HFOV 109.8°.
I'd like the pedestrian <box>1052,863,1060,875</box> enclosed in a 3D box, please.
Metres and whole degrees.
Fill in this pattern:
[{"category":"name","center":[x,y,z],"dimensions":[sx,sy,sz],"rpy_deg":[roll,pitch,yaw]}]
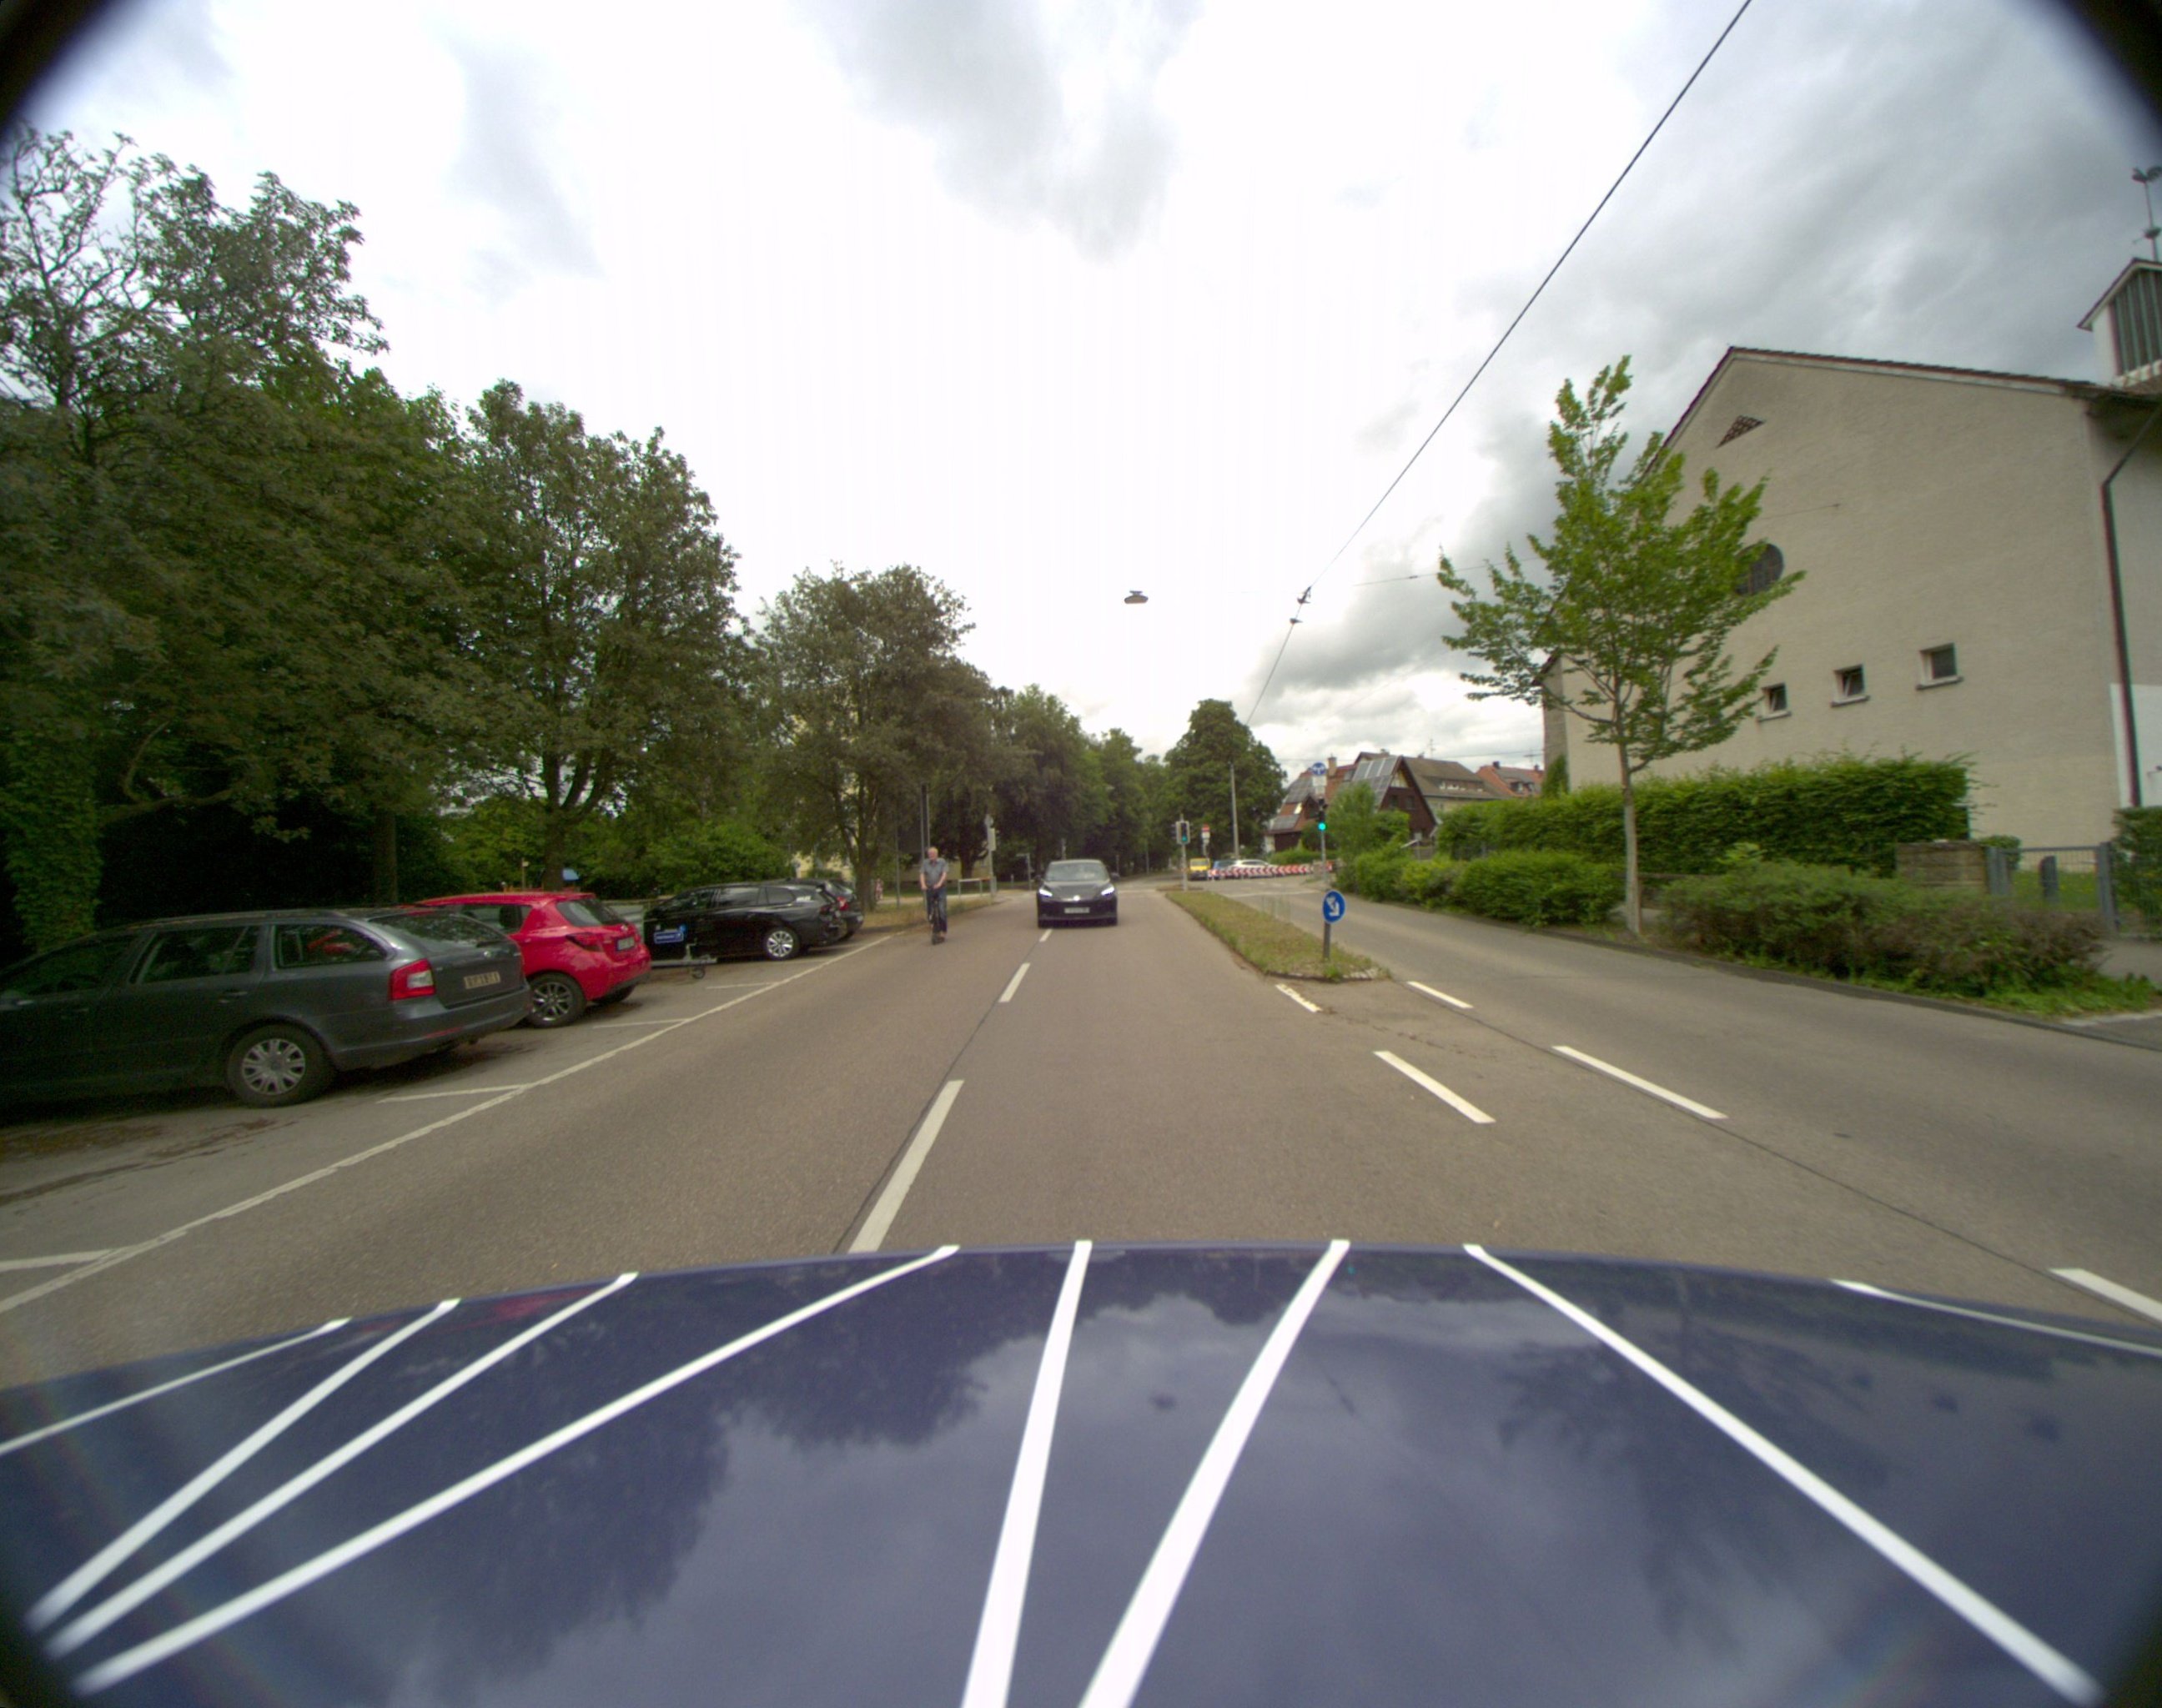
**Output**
[{"category":"pedestrian","center":[-2.962,1.816,90.244],"dimensions":[0.688,1.373,0.606],"rpy_deg":[-3,0,10]}]

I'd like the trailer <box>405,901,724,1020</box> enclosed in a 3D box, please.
[{"category":"trailer","center":[-7.310,1.470,11.090],"dimensions":[3.413,1.259,1.615],"rpy_deg":[-3,1,-9]}]

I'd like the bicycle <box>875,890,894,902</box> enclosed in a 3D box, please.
[{"category":"bicycle","center":[-9.354,1.990,36.148],"dimensions":[0.521,0.494,0.987],"rpy_deg":[3,-9,-37]}]

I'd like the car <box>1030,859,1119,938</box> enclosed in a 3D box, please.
[{"category":"car","center":[-0.036,0.937,17.977],"dimensions":[1.803,1.541,4.299],"rpy_deg":[-3,0,3]}]

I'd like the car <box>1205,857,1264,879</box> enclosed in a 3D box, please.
[{"category":"car","center":[12.033,1.127,59.612],"dimensions":[4.175,1.537,1.846],"rpy_deg":[-3,-2,0]}]

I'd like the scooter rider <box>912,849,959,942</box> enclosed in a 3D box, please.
[{"category":"scooter rider","center":[-2.862,0.796,15.059],"dimensions":[0.683,1.720,1.196],"rpy_deg":[-3,0,-4]}]

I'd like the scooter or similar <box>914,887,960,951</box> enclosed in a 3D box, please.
[{"category":"scooter or similar","center":[-2.832,1.259,15.097],"dimensions":[0.683,1.132,1.459],"rpy_deg":[-3,0,-4]}]

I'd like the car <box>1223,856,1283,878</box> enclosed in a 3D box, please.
[{"category":"car","center":[12.918,0.983,57.142],"dimensions":[3.904,1.463,1.845],"rpy_deg":[-2,-2,-8]}]

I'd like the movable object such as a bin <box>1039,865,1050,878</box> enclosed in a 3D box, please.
[{"category":"movable object such as a bin","center":[-4.865,2.375,102.252],"dimensions":[1.277,1.632,1.021],"rpy_deg":[-1,1,7]}]

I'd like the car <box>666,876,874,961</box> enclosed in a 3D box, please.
[{"category":"car","center":[-6.536,1.336,16.245],"dimensions":[3.726,1.467,1.576],"rpy_deg":[-3,-1,-2]}]

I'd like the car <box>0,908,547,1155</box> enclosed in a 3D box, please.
[{"category":"car","center":[-7.156,1.356,6.193],"dimensions":[4.233,1.455,1.634],"rpy_deg":[-3,0,-8]}]

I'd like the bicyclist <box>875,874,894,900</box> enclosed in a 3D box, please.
[{"category":"bicyclist","center":[-9.376,1.578,36.195],"dimensions":[0.521,1.178,0.966],"rpy_deg":[3,-9,-37]}]

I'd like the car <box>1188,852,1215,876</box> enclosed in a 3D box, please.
[{"category":"car","center":[10.662,0.920,67.670],"dimensions":[1.920,1.977,4.802],"rpy_deg":[-3,-1,4]}]

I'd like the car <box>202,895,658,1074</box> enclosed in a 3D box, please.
[{"category":"car","center":[-7.045,1.352,8.625],"dimensions":[3.536,1.467,1.591],"rpy_deg":[-3,0,-12]}]

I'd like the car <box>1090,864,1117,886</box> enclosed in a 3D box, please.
[{"category":"car","center":[1.826,1.665,61.635],"dimensions":[1.998,1.585,4.001],"rpy_deg":[-3,-1,3]}]

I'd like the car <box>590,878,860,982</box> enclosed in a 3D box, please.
[{"category":"car","center":[-6.318,1.316,13.944],"dimensions":[4.149,1.467,1.575],"rpy_deg":[-3,0,-11]}]
